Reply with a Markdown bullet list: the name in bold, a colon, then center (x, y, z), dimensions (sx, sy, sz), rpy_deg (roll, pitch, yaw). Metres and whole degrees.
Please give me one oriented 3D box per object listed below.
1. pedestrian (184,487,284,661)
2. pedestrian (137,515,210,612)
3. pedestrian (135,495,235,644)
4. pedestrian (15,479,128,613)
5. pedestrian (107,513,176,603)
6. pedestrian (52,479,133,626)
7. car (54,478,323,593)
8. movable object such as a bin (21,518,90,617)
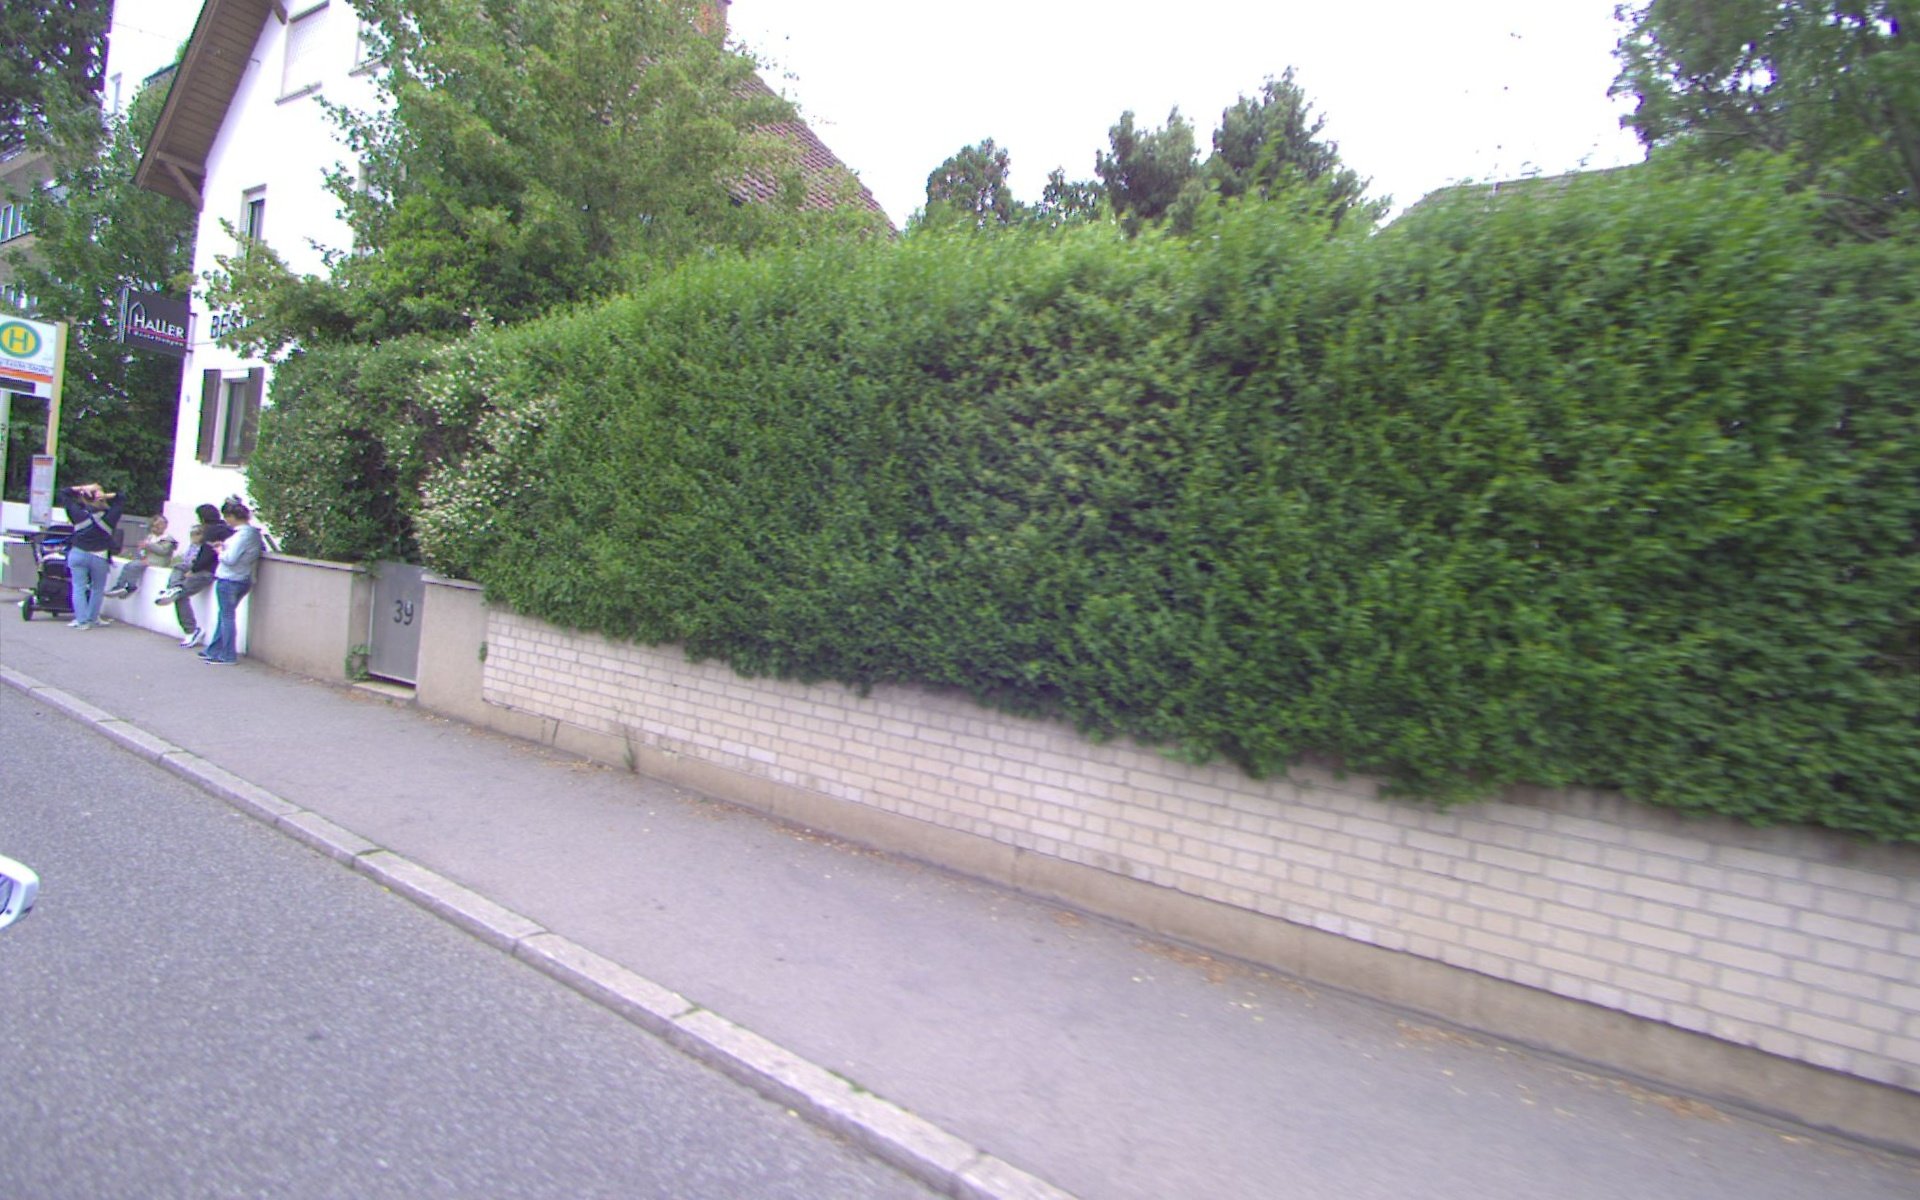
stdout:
- **pedestrian**: center (-6.884, -0.241, 9.545), dimensions (0.463, 1.576, 0.544), rpy_deg (6, 3, 24)
- **pedestrian**: center (-8.394, -0.384, 10.737), dimensions (0.376, 0.977, 0.454), rpy_deg (7, 3, 26)
- **pedestrian**: center (-7.992, -0.311, 10.395), dimensions (0.612, 1.447, 0.510), rpy_deg (5, 3, -19)
- **pedestrian**: center (-10.826, -0.640, 12.264), dimensions (0.594, 1.519, 0.781), rpy_deg (6, 1, 27)
- **pedestrian**: center (-9.347, -0.475, 11.491), dimensions (0.376, 0.977, 0.454), rpy_deg (7, 3, 26)
- **pedestrian**: center (-9.467, -0.507, 10.979), dimensions (0.356, 1.537, 0.548), rpy_deg (8, 3, 41)
- **car**: center (-16.092, -1.287, 21.212), dimensions (1.856, 1.810, 3.995), rpy_deg (6, -1, 29)
- **movable object such as a bin**: center (-10.340, -0.372, 11.514), dimensions (0.437, 1.072, 0.563), rpy_deg (4, 3, -31)
